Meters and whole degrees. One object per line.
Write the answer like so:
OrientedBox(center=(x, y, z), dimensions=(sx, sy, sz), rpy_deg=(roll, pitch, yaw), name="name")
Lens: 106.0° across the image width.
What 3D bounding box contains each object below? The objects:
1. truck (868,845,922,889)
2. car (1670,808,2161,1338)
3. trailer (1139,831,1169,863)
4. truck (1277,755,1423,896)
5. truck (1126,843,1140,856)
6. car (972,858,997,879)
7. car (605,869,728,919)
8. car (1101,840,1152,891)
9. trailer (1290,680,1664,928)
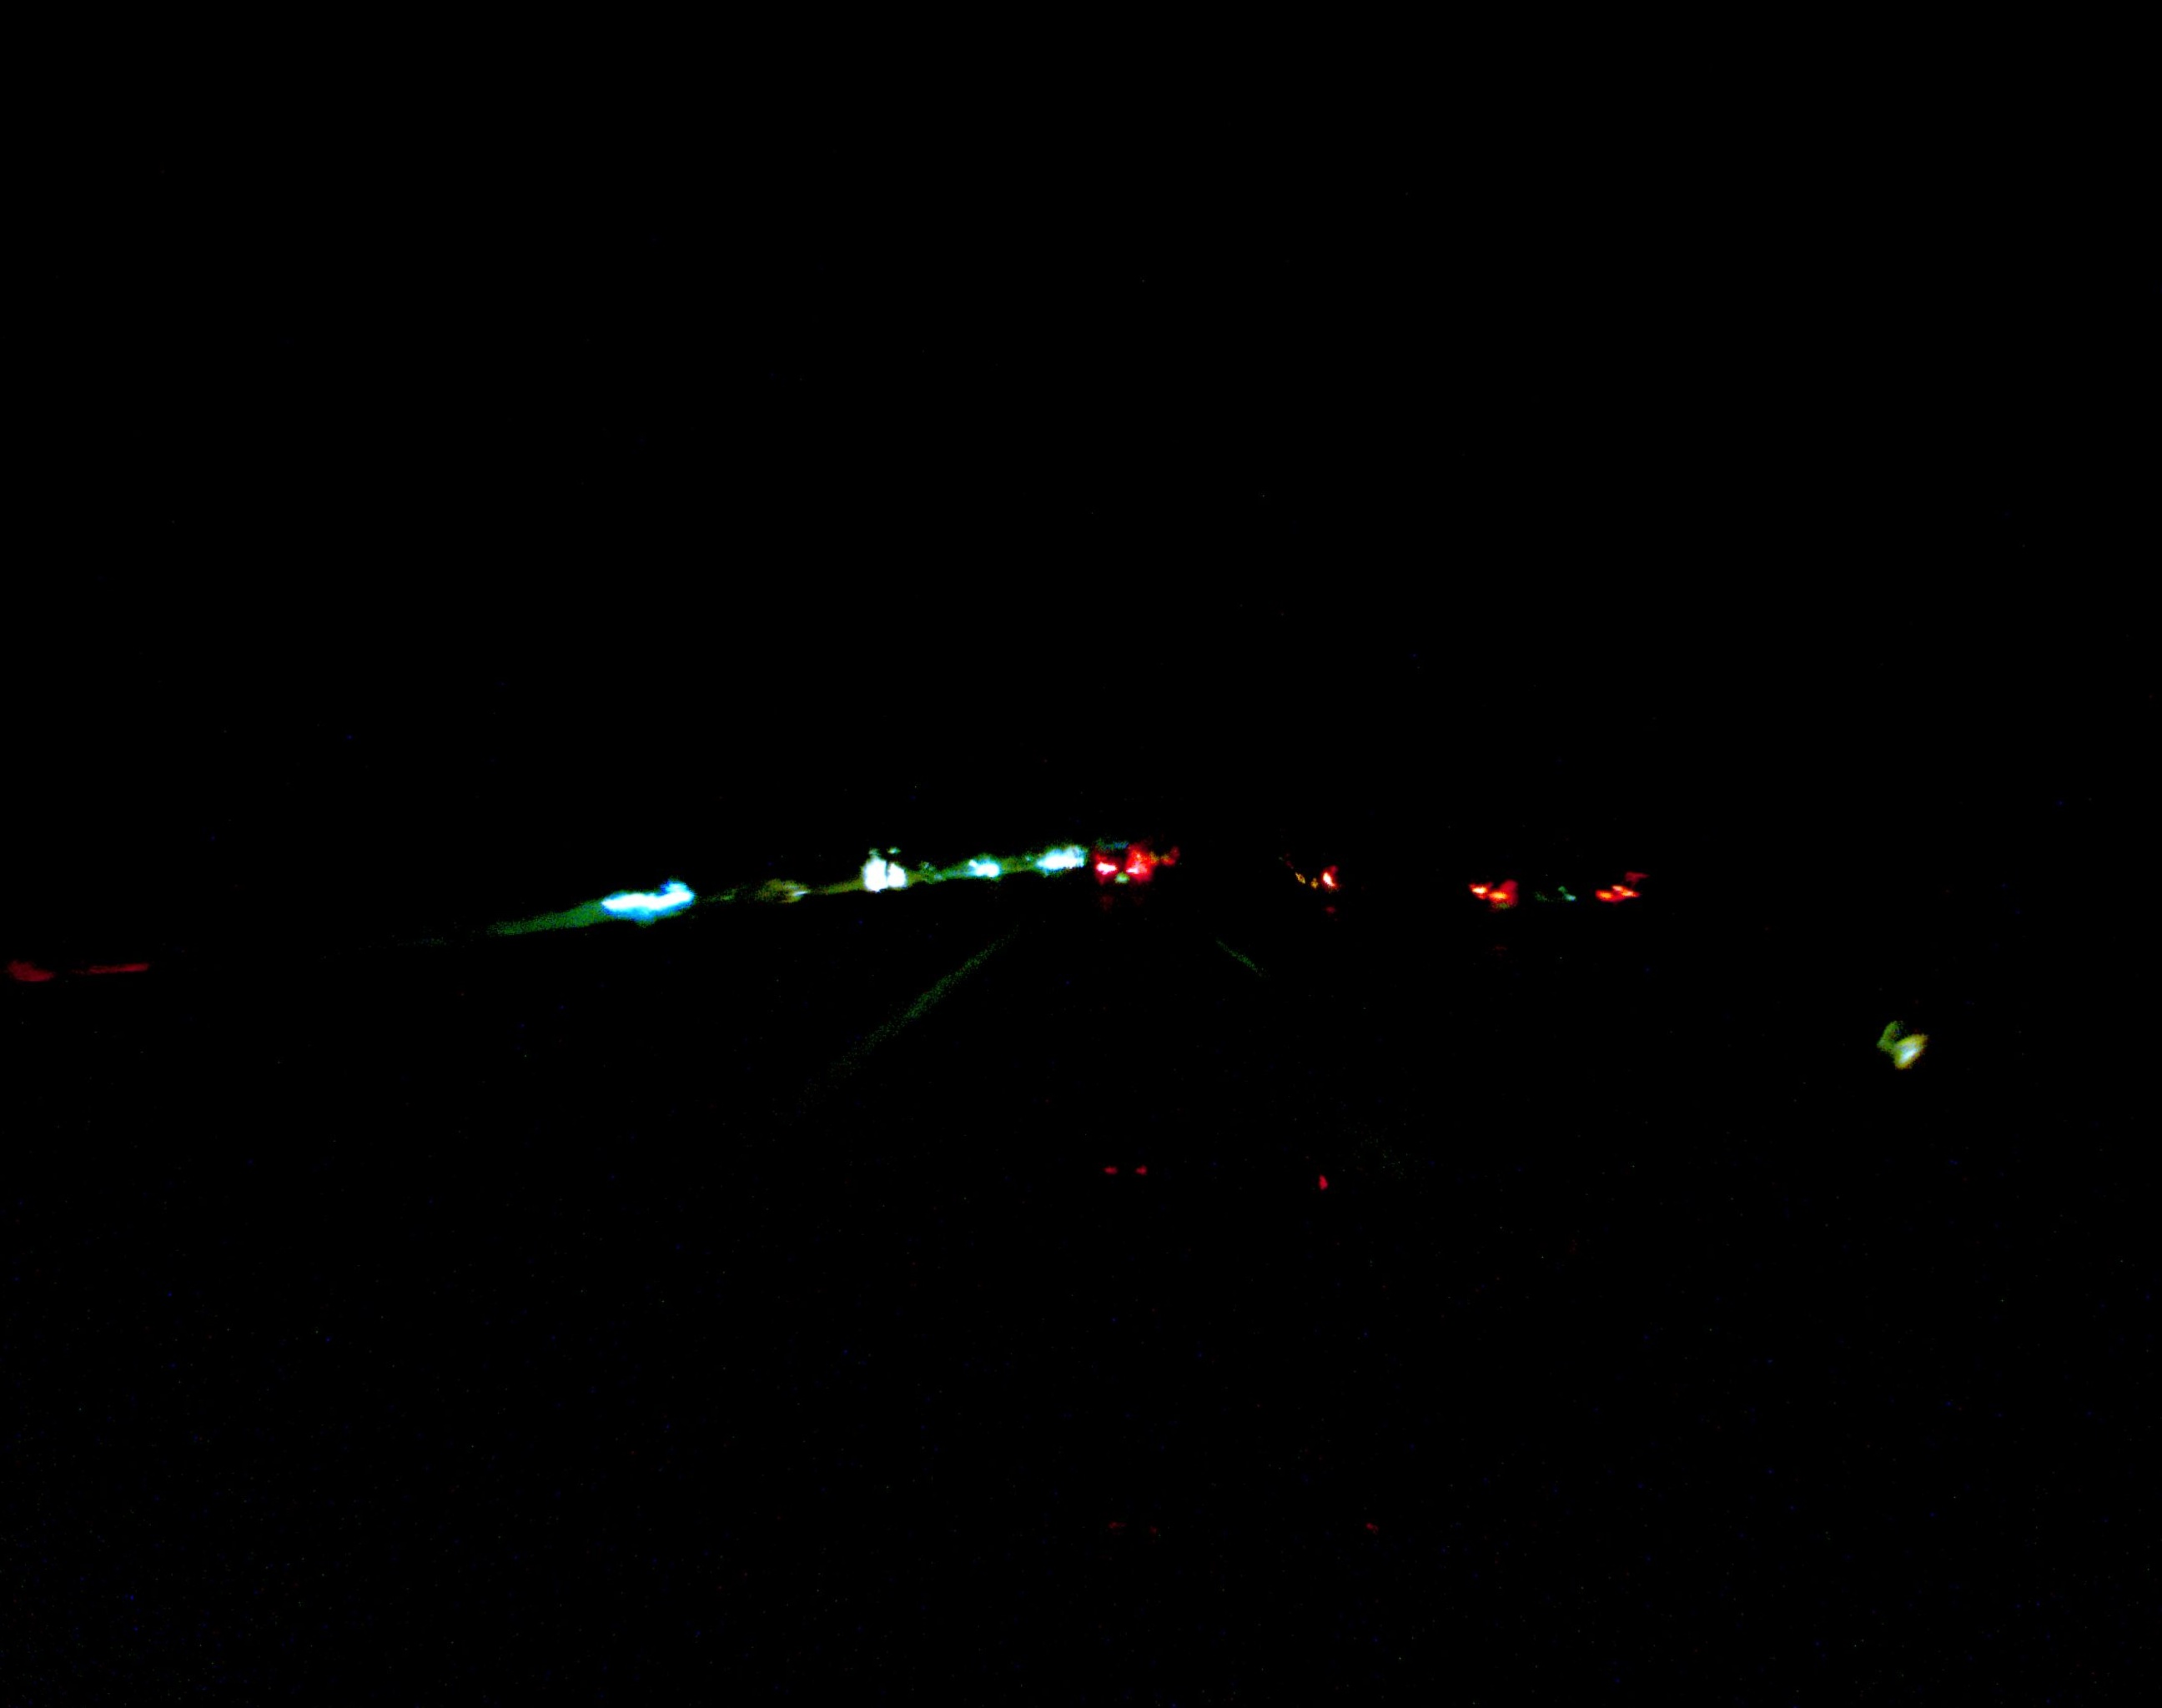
OrientedBox(center=(-18.205, 1.182, 80.343), dimensions=(2.858, 3.907, 10.211), rpy_deg=(-2, 0, 0), name="truck")
OrientedBox(center=(4.057, 0.629, 2.197), dimensions=(1.734, 1.575, 4.495), rpy_deg=(-1, 0, 1), name="car")
OrientedBox(center=(10.560, -0.879, 119.027), dimensions=(3.031, 4.108, 13.826), rpy_deg=(-3, -1, 0), name="trailer")
OrientedBox(center=(8.806, -0.863, 27.477), dimensions=(2.892, 4.108, 6.033), rpy_deg=(-3, 0, 1), name="truck")
OrientedBox(center=(14.387, -1.154, 226.113), dimensions=(3.027, 3.297, 11.379), rpy_deg=(-3, -1, 0), name="truck")
OrientedBox(center=(-10.333, 1.542, 87.612), dimensions=(1.986, 2.013, 4.001), rpy_deg=(-2, 0, 1), name="car")
OrientedBox(center=(-15.444, 1.445, 30.657), dimensions=(1.984, 1.559, 4.539), rpy_deg=(-2, 0, 4), name="car")
OrientedBox(center=(1.852, 0.488, 34.168), dimensions=(1.986, 2.014, 4.001), rpy_deg=(0, -1, 1), name="car")
OrientedBox(center=(8.627, -0.858, 21.177), dimensions=(2.892, 4.108, 14.492), rpy_deg=(-3, 0, 2), name="trailer")
